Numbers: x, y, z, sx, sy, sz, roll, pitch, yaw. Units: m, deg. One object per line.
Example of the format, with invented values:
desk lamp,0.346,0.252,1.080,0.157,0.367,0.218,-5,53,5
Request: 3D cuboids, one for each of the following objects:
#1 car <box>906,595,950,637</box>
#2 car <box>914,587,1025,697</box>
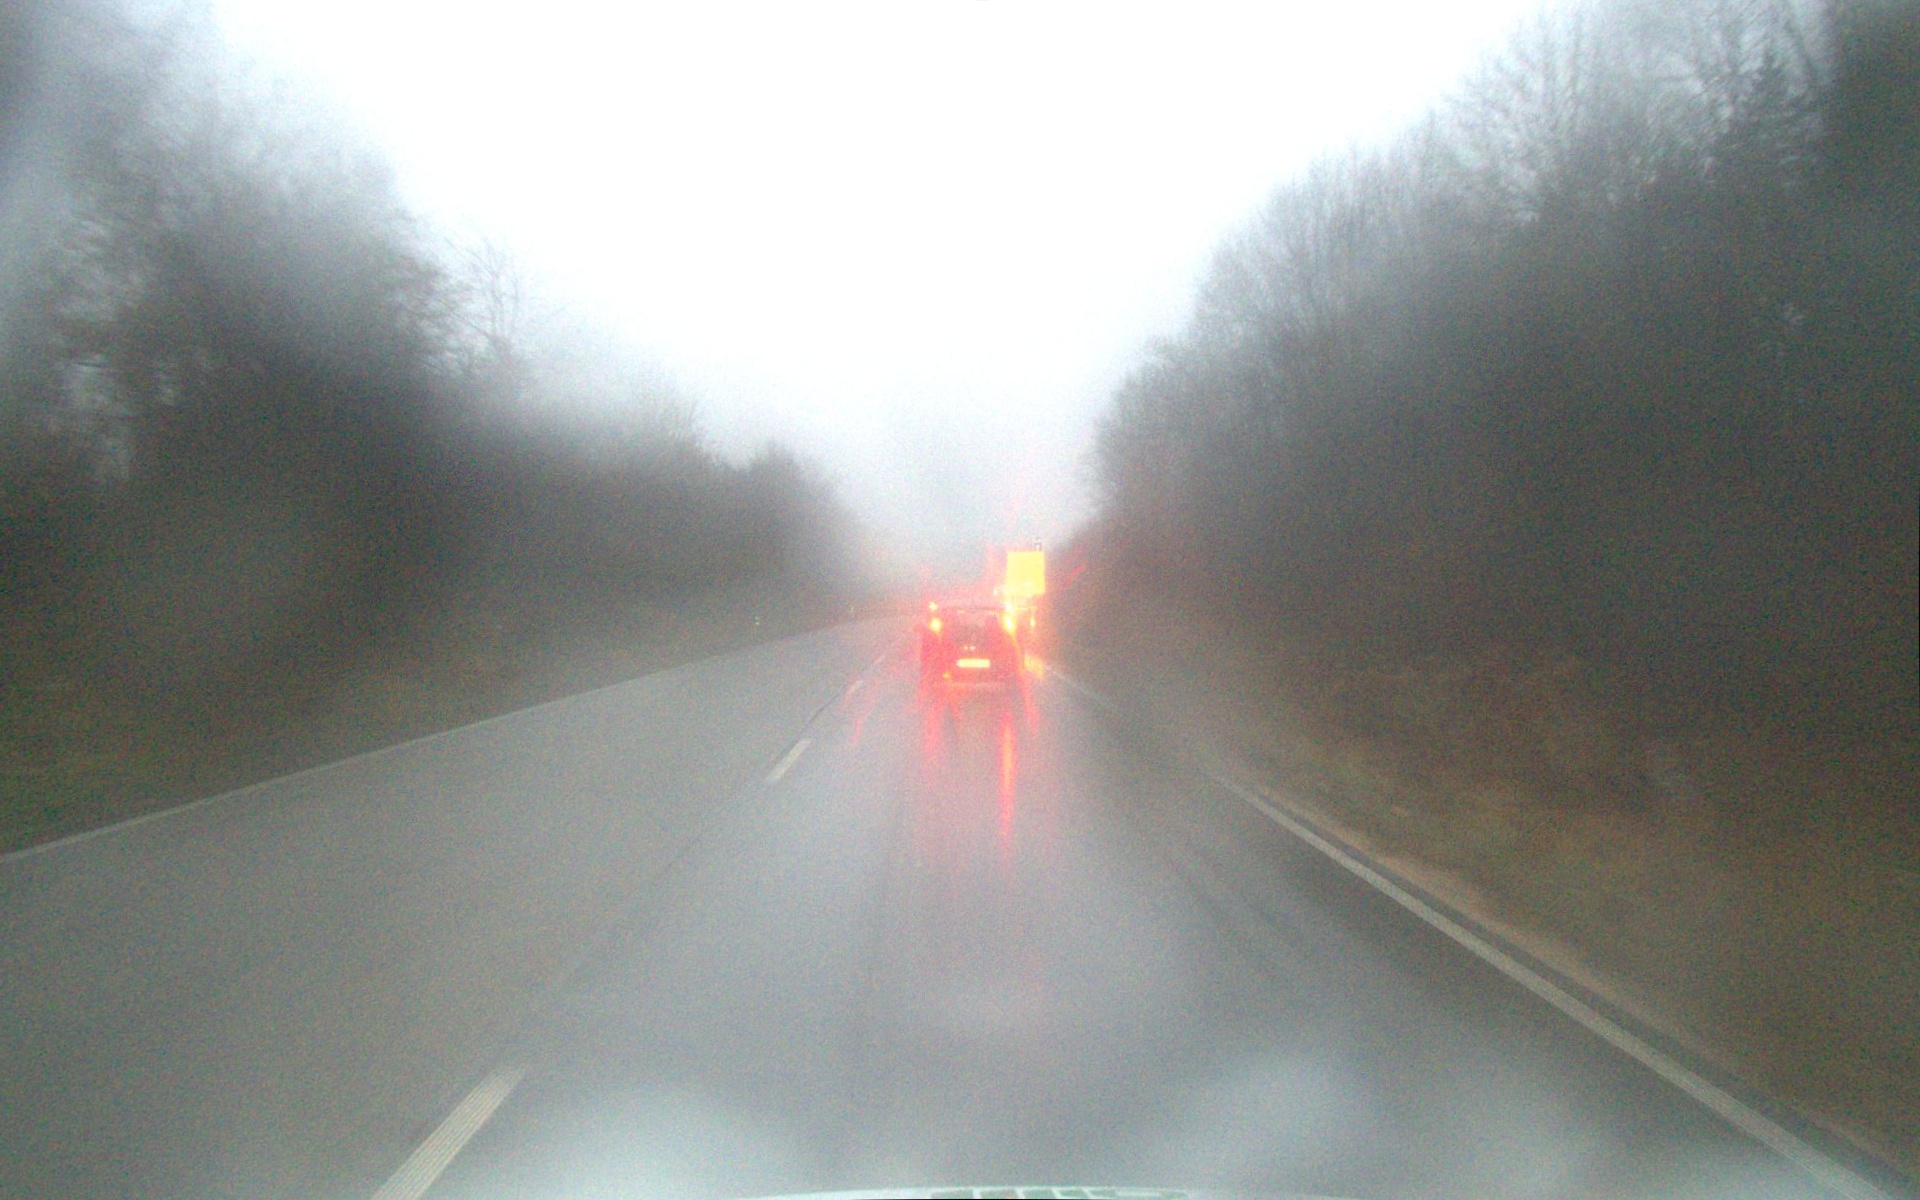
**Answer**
car,-1.301,0.650,68.613,1.692,1.672,4.000,0,0,0
car,0.164,0.644,27.260,1.692,1.672,4.000,0,0,0
